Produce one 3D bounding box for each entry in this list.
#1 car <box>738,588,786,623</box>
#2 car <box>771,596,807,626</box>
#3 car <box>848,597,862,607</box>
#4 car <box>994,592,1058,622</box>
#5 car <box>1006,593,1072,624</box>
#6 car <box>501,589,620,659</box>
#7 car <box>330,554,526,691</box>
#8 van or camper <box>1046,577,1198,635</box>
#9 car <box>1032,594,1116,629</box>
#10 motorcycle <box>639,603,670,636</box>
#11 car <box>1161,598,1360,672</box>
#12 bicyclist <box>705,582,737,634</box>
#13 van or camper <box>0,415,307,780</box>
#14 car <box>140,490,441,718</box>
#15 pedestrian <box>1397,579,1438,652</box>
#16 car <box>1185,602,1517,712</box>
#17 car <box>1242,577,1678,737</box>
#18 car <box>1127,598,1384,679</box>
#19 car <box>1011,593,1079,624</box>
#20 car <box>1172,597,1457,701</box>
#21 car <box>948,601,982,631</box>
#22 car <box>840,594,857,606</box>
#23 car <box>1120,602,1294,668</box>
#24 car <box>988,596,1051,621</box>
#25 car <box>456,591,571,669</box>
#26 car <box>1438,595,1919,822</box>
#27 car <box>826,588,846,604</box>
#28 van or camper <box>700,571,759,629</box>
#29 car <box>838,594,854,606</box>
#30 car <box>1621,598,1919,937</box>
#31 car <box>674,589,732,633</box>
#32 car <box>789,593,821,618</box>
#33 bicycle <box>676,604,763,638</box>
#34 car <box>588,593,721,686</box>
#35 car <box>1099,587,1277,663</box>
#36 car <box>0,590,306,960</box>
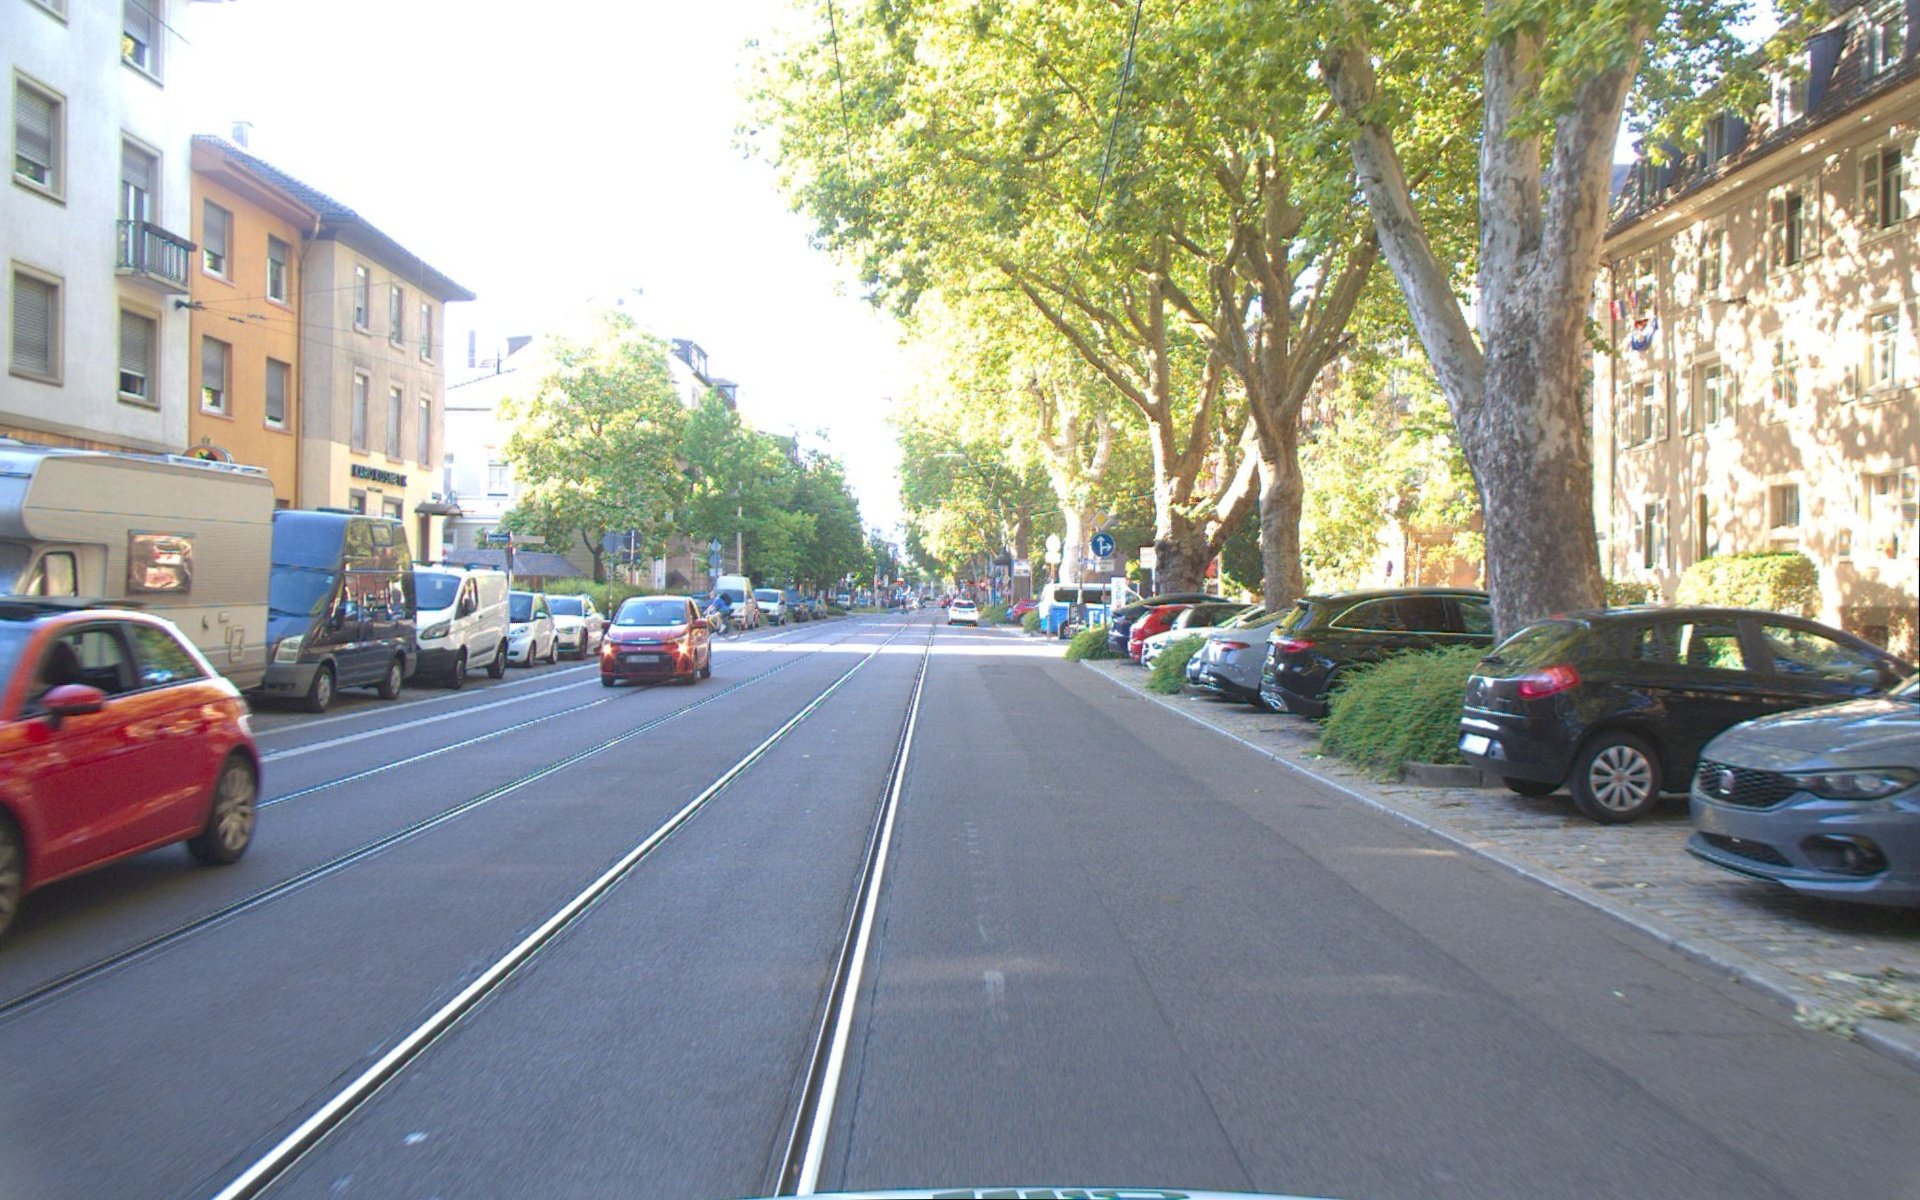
[{"bbox_3d":[-10.869,0.288,91.294,2.129,1.893,4.658,0,0,-1],"label":"car"},{"bbox_3d":[-10.910,0.680,105.707,1.953,1.893,4.178,0,0,-1],"label":"car"},{"bbox_3d":[-14.266,0.263,224.285,1.880,1.443,3.588,0,0,-3],"label":"car"},{"bbox_3d":[4.108,0.443,102.963,3.905,1.816,2.000,0,0,-1],"label":"car"},{"bbox_3d":[4.732,0.491,99.709,3.905,1.816,2.000,0,0,-1],"label":"car"},{"bbox_3d":[-9.631,0.535,40.243,1.799,1.494,5.067,3,0,-3],"label":"car"},{"bbox_3d":[-9.399,0.324,29.706,1.913,2.127,5.246,4,1,-3],"label":"car"},{"bbox_3d":[6.106,0.219,62.793,5.447,2.048,2.242,0,3,-5],"label":"van or camper"},{"bbox_3d":[5.452,0.549,79.359,3.905,1.637,2.000,0,0,-1],"label":"car"},{"bbox_3d":[-11.683,0.728,63.259,0.748,1.126,2.330,1,2,-1],"label":"motorcycle"},{"bbox_3d":[6.170,0.705,34.257,3.803,1.460,1.753,0,0,-1],"label":"car"},{"bbox_3d":[-8.100,0.277,55.944,1.027,1.735,1.055,0,0,-10],"label":"bicyclist"},{"bbox_3d":[-9.235,-0.094,17.036,2.290,3.093,6.397,4,0,0],"label":"van or camper"},{"bbox_3d":[-9.332,0.037,23.649,2.044,2.779,5.308,3,0,-1],"label":"car"},{"bbox_3d":[11.198,0.366,40.503,0.745,1.769,0.821,0,0,-1],"label":"pedestrian"},{"bbox_3d":[5.442,0.778,23.401,4.209,1.464,1.947,0,0,-2],"label":"car"},{"bbox_3d":[5.572,0.616,18.925,4.402,1.630,2.028,-1,0,3],"label":"car"},{"bbox_3d":[5.616,0.722,31.795,4.591,1.472,1.892,0,0,-1],"label":"car"},{"bbox_3d":[4.977,0.493,97.429,3.905,1.816,2.000,0,0,-1],"label":"car"},{"bbox_3d":[5.452,0.736,25.813,4.057,1.535,1.796,0,0,-1],"label":"car"},{"bbox_3d":[0.261,0.915,95.168,1.879,1.612,3.790,-1,0,-1],"label":"car"},{"bbox_3d":[-13.925,-0.017,206.443,1.881,1.443,3.586,-2,-1,-6],"label":"car"},{"bbox_3d":[5.428,0.755,36.660,3.575,1.402,1.889,0,0,0],"label":"car"},{"bbox_3d":[3.772,0.558,105.264,3.905,1.547,2.000,0,0,-1],"label":"car"},{"bbox_3d":[-9.603,0.617,35.768,1.539,1.553,3.041,2,0,1],"label":"car"},{"bbox_3d":[5.649,0.747,12.179,3.760,1.536,1.710,0,0,-1],"label":"car"},{"bbox_3d":[-12.725,-0.423,169.967,1.880,1.444,3.718,0,-3,-3],"label":"car"},{"bbox_3d":[-10.643,-0.023,76.621,2.037,2.577,5.317,0,0,-1],"label":"van or camper"},{"bbox_3d":[-13.928,-0.023,202.197,1.880,1.443,3.588,0,0,-3],"label":"car"},{"bbox_3d":[5.810,0.763,8.387,4.161,1.509,1.897,0,0,-1],"label":"car"},{"bbox_3d":[-10.428,0.431,67.390,1.751,1.614,4.342,3,0,-2],"label":"car"},{"bbox_3d":[-11.376,0.400,121.624,1.953,1.775,4.658,0,0,-1],"label":"car"},{"bbox_3d":[-8.137,0.709,55.956,2.894,1.124,1.049,0,0,-10],"label":"bicycle"},{"bbox_3d":[-5.267,0.631,28.933,1.629,1.505,3.950,0,0,-1],"label":"car"},{"bbox_3d":[5.316,0.573,38.882,3.845,1.699,1.960,0,0,-3],"label":"car"},{"bbox_3d":[-4.664,0.697,7.670,1.688,1.462,4.068,-1,0,-1],"label":"car"}]
